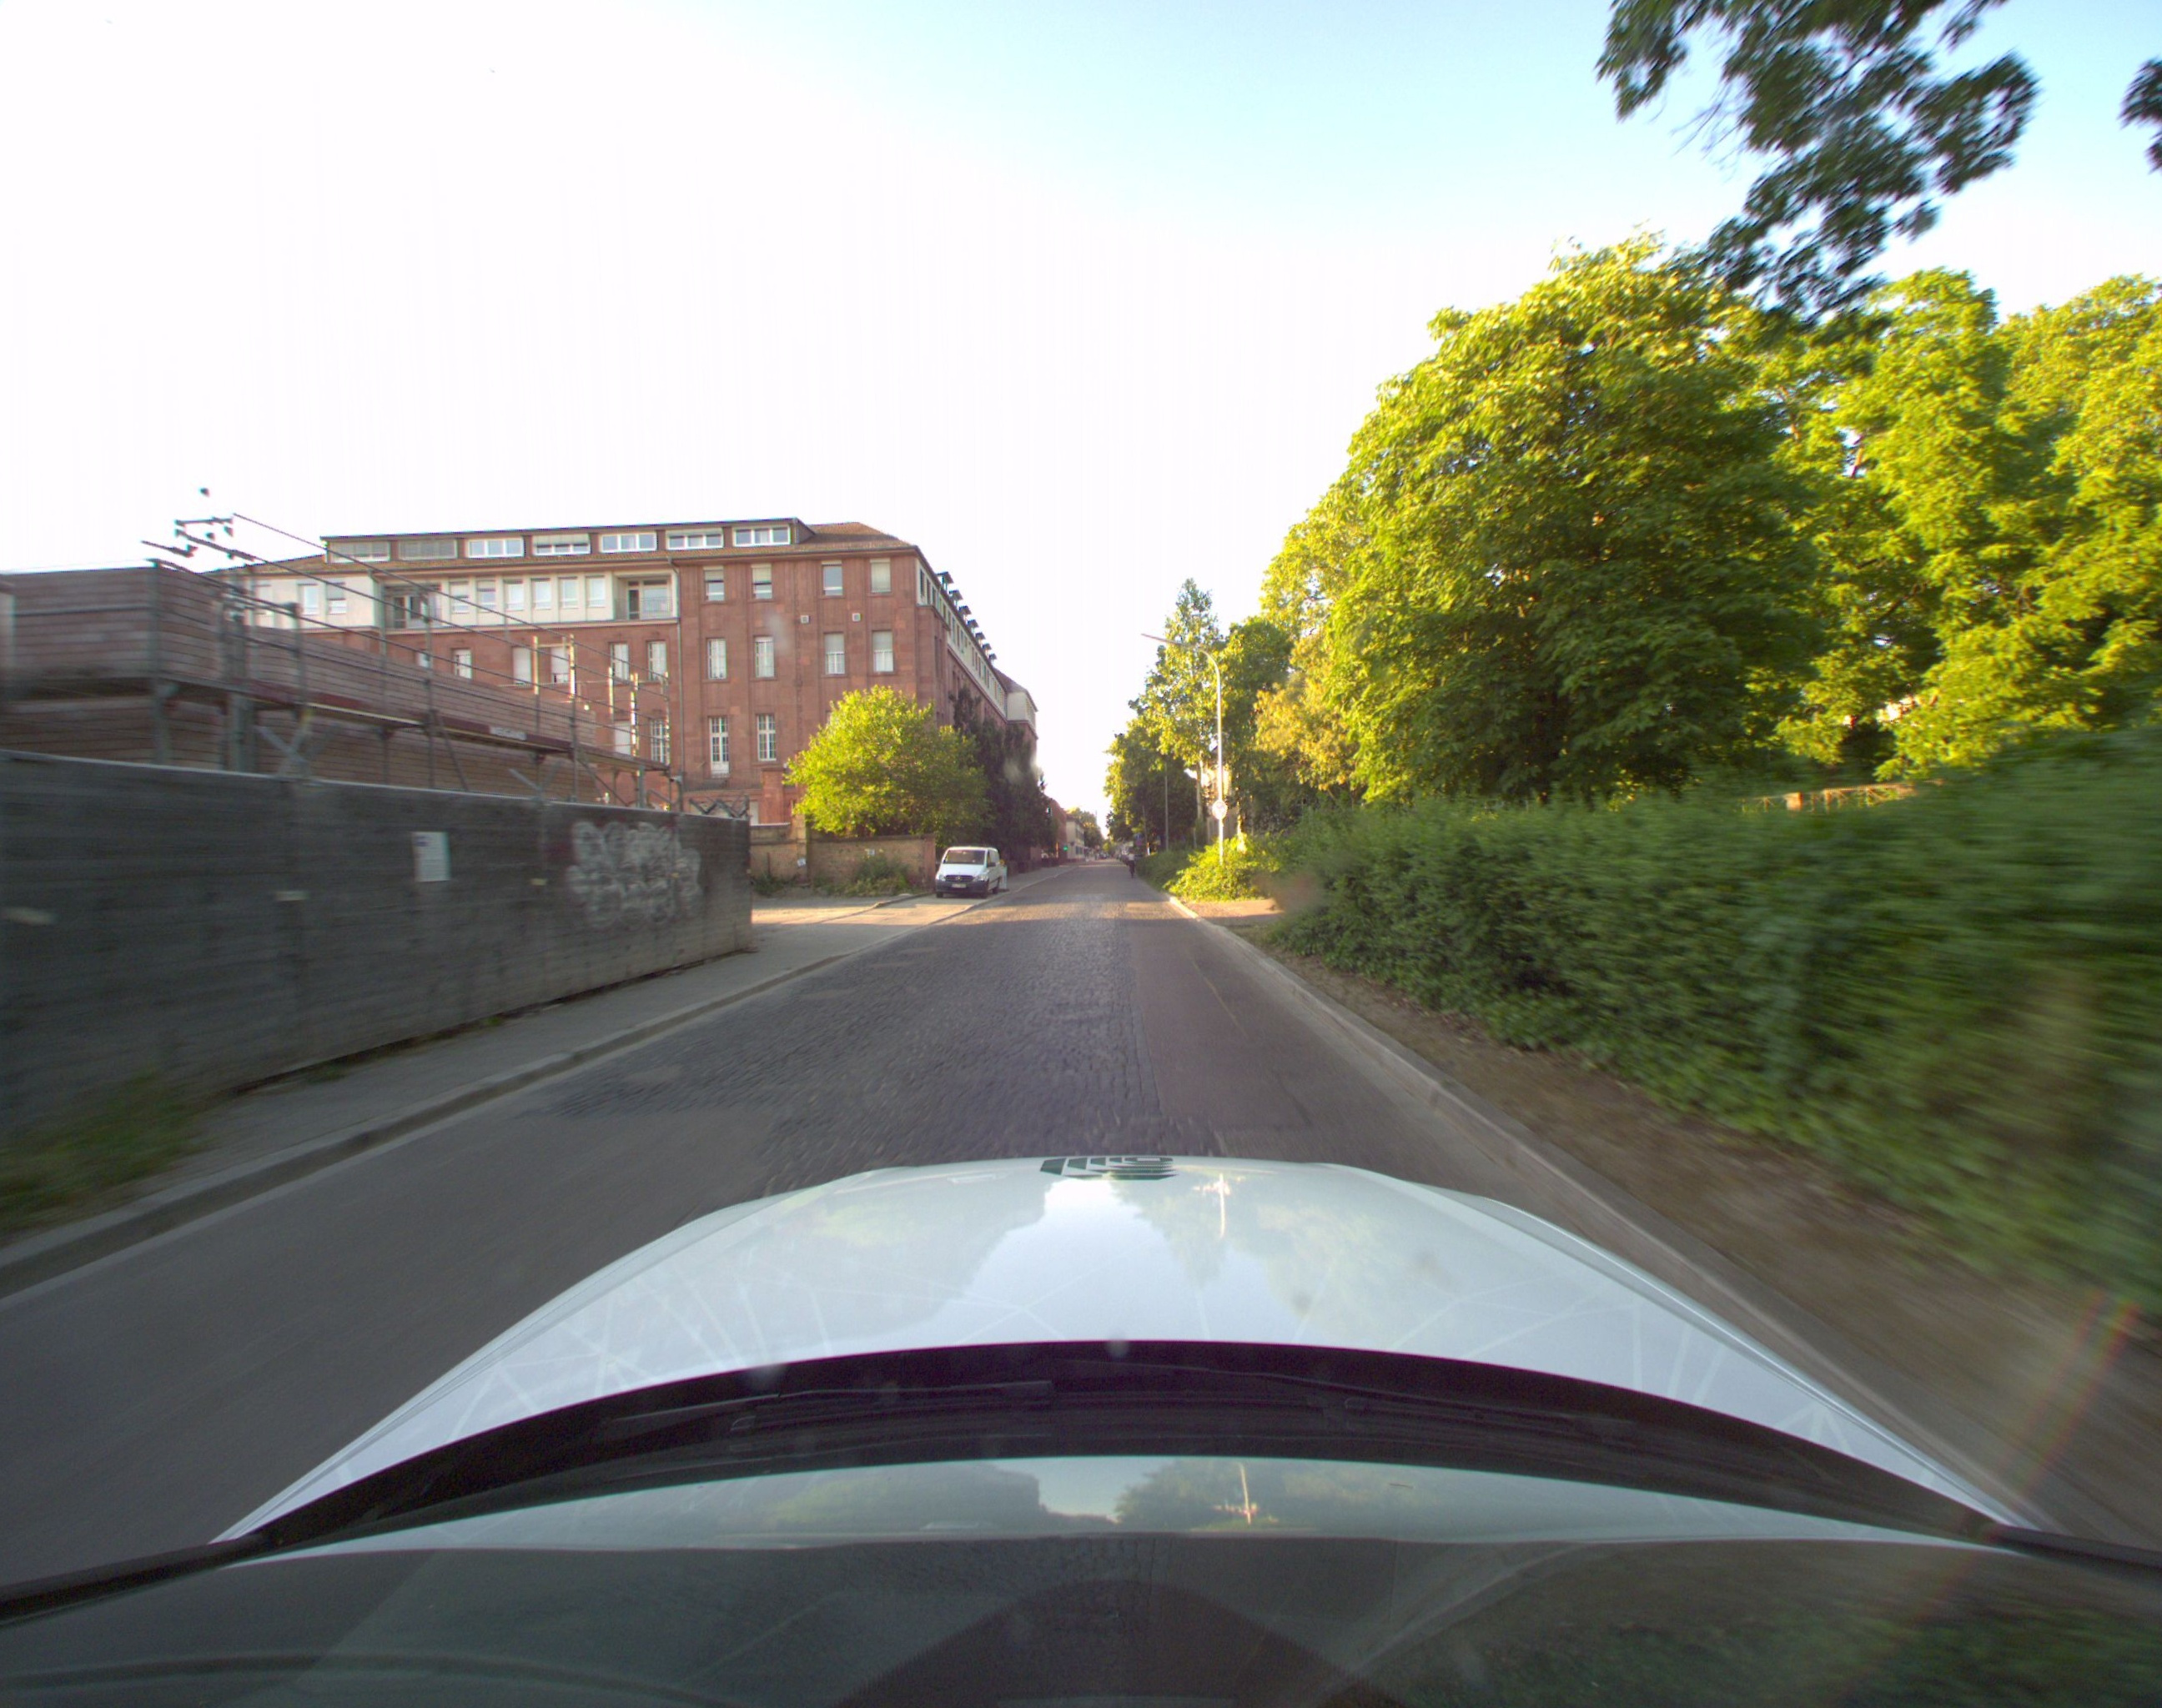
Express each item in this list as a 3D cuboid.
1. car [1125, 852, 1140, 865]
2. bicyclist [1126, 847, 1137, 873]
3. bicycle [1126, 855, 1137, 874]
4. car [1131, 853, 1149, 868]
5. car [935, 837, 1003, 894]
[{"bbox_3d":[6.596,0.603,104.256,1.710,1.537,4.048,-2,0,0],"label":"car"},{"bbox_3d":[3.288,0.382,53.189,0.637,1.667,0.842,0,0,0],"label":"bicyclist"},{"bbox_3d":[3.292,0.679,53.234,0.636,1.193,1.876,0,0,0],"label":"bicycle"},{"bbox_3d":[6.513,0.718,90.374,1.680,1.447,3.671,-5,-1,0],"label":"car"},{"bbox_3d":[-4.205,0.457,31.421,1.876,2.014,5.225,0,-1,0],"label":"car"}]
